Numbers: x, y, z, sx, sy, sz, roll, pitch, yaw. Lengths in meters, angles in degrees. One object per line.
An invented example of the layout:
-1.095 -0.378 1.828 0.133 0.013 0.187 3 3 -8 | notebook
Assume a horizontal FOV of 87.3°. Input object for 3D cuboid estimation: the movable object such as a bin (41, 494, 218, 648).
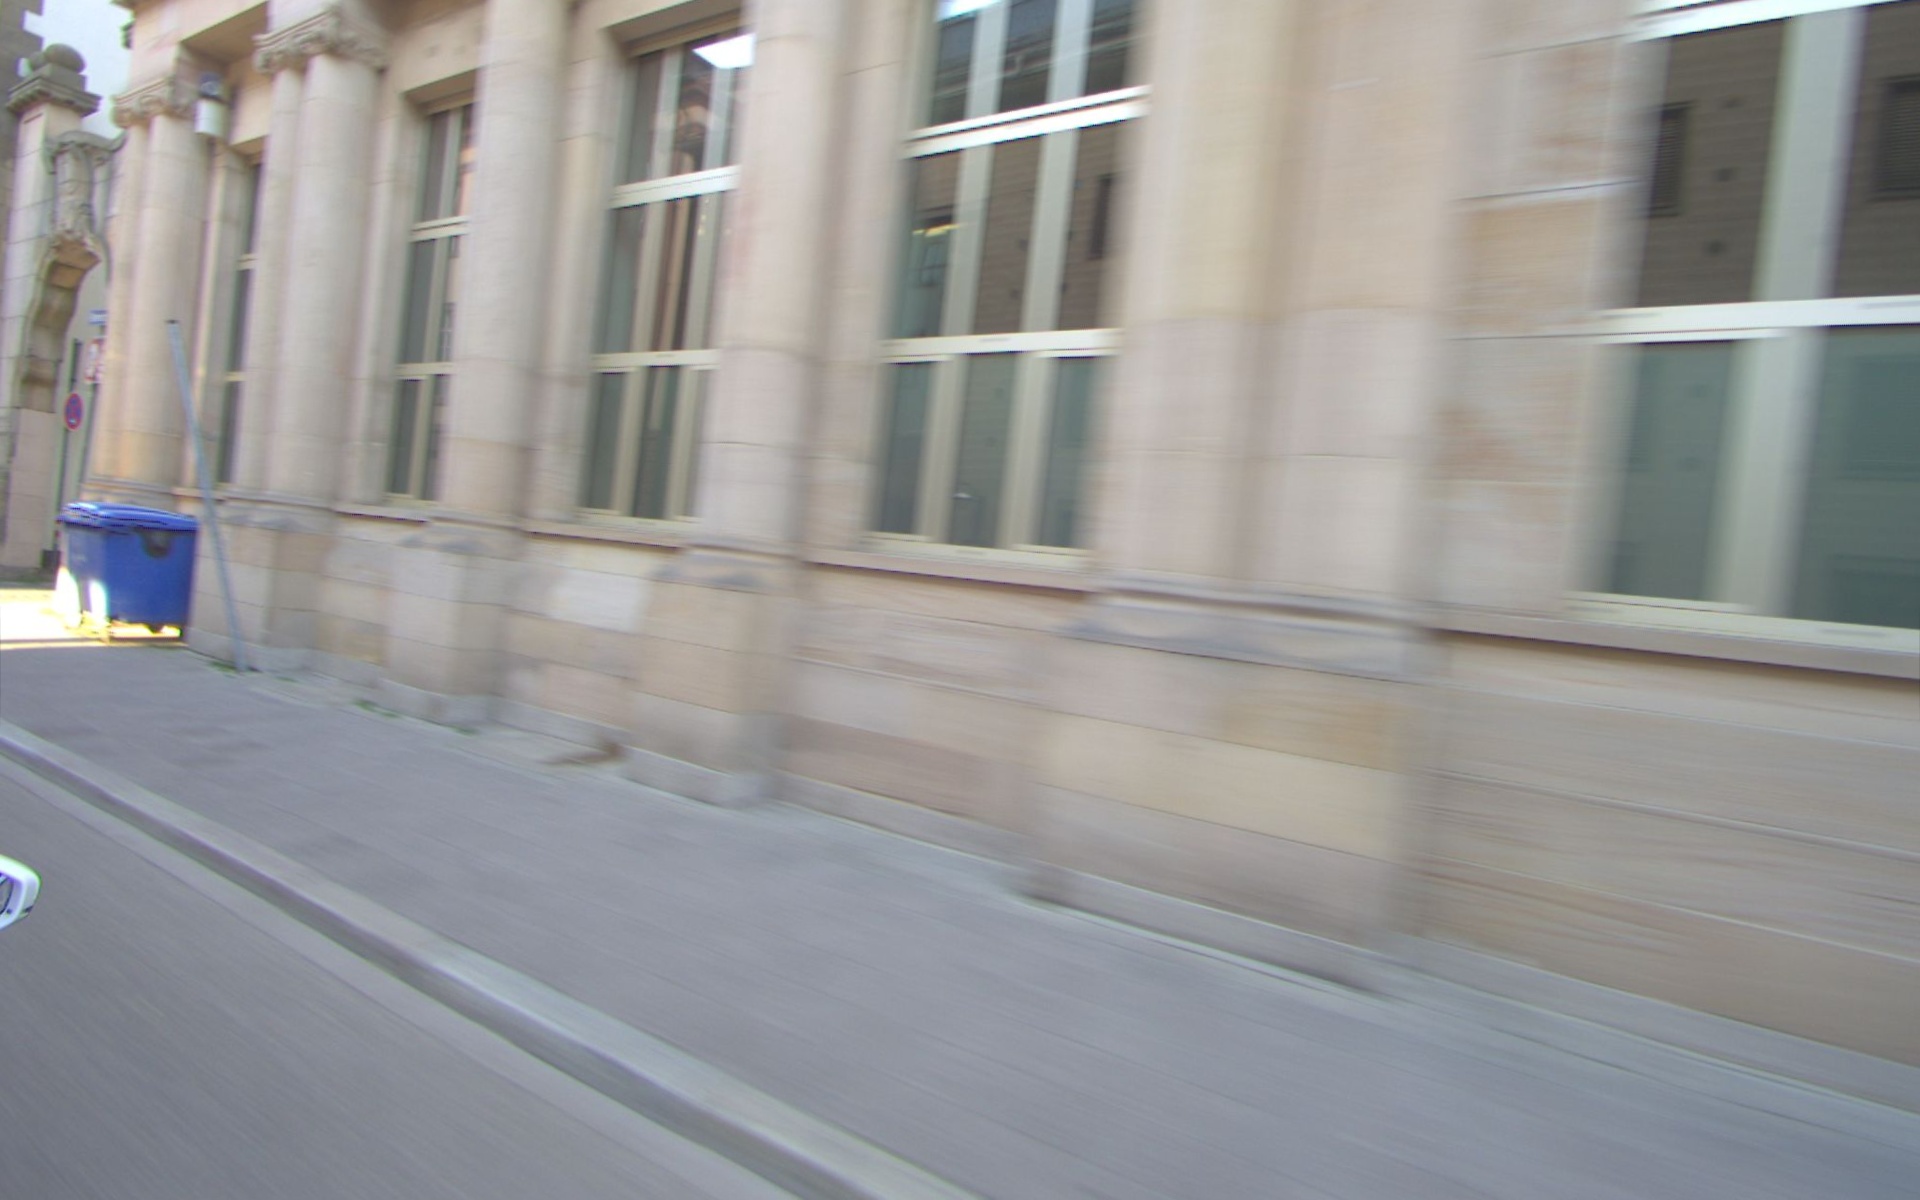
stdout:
-8.553 -0.287 10.372 1.220 1.410 0.991 7 1 32 | movable object such as a bin
